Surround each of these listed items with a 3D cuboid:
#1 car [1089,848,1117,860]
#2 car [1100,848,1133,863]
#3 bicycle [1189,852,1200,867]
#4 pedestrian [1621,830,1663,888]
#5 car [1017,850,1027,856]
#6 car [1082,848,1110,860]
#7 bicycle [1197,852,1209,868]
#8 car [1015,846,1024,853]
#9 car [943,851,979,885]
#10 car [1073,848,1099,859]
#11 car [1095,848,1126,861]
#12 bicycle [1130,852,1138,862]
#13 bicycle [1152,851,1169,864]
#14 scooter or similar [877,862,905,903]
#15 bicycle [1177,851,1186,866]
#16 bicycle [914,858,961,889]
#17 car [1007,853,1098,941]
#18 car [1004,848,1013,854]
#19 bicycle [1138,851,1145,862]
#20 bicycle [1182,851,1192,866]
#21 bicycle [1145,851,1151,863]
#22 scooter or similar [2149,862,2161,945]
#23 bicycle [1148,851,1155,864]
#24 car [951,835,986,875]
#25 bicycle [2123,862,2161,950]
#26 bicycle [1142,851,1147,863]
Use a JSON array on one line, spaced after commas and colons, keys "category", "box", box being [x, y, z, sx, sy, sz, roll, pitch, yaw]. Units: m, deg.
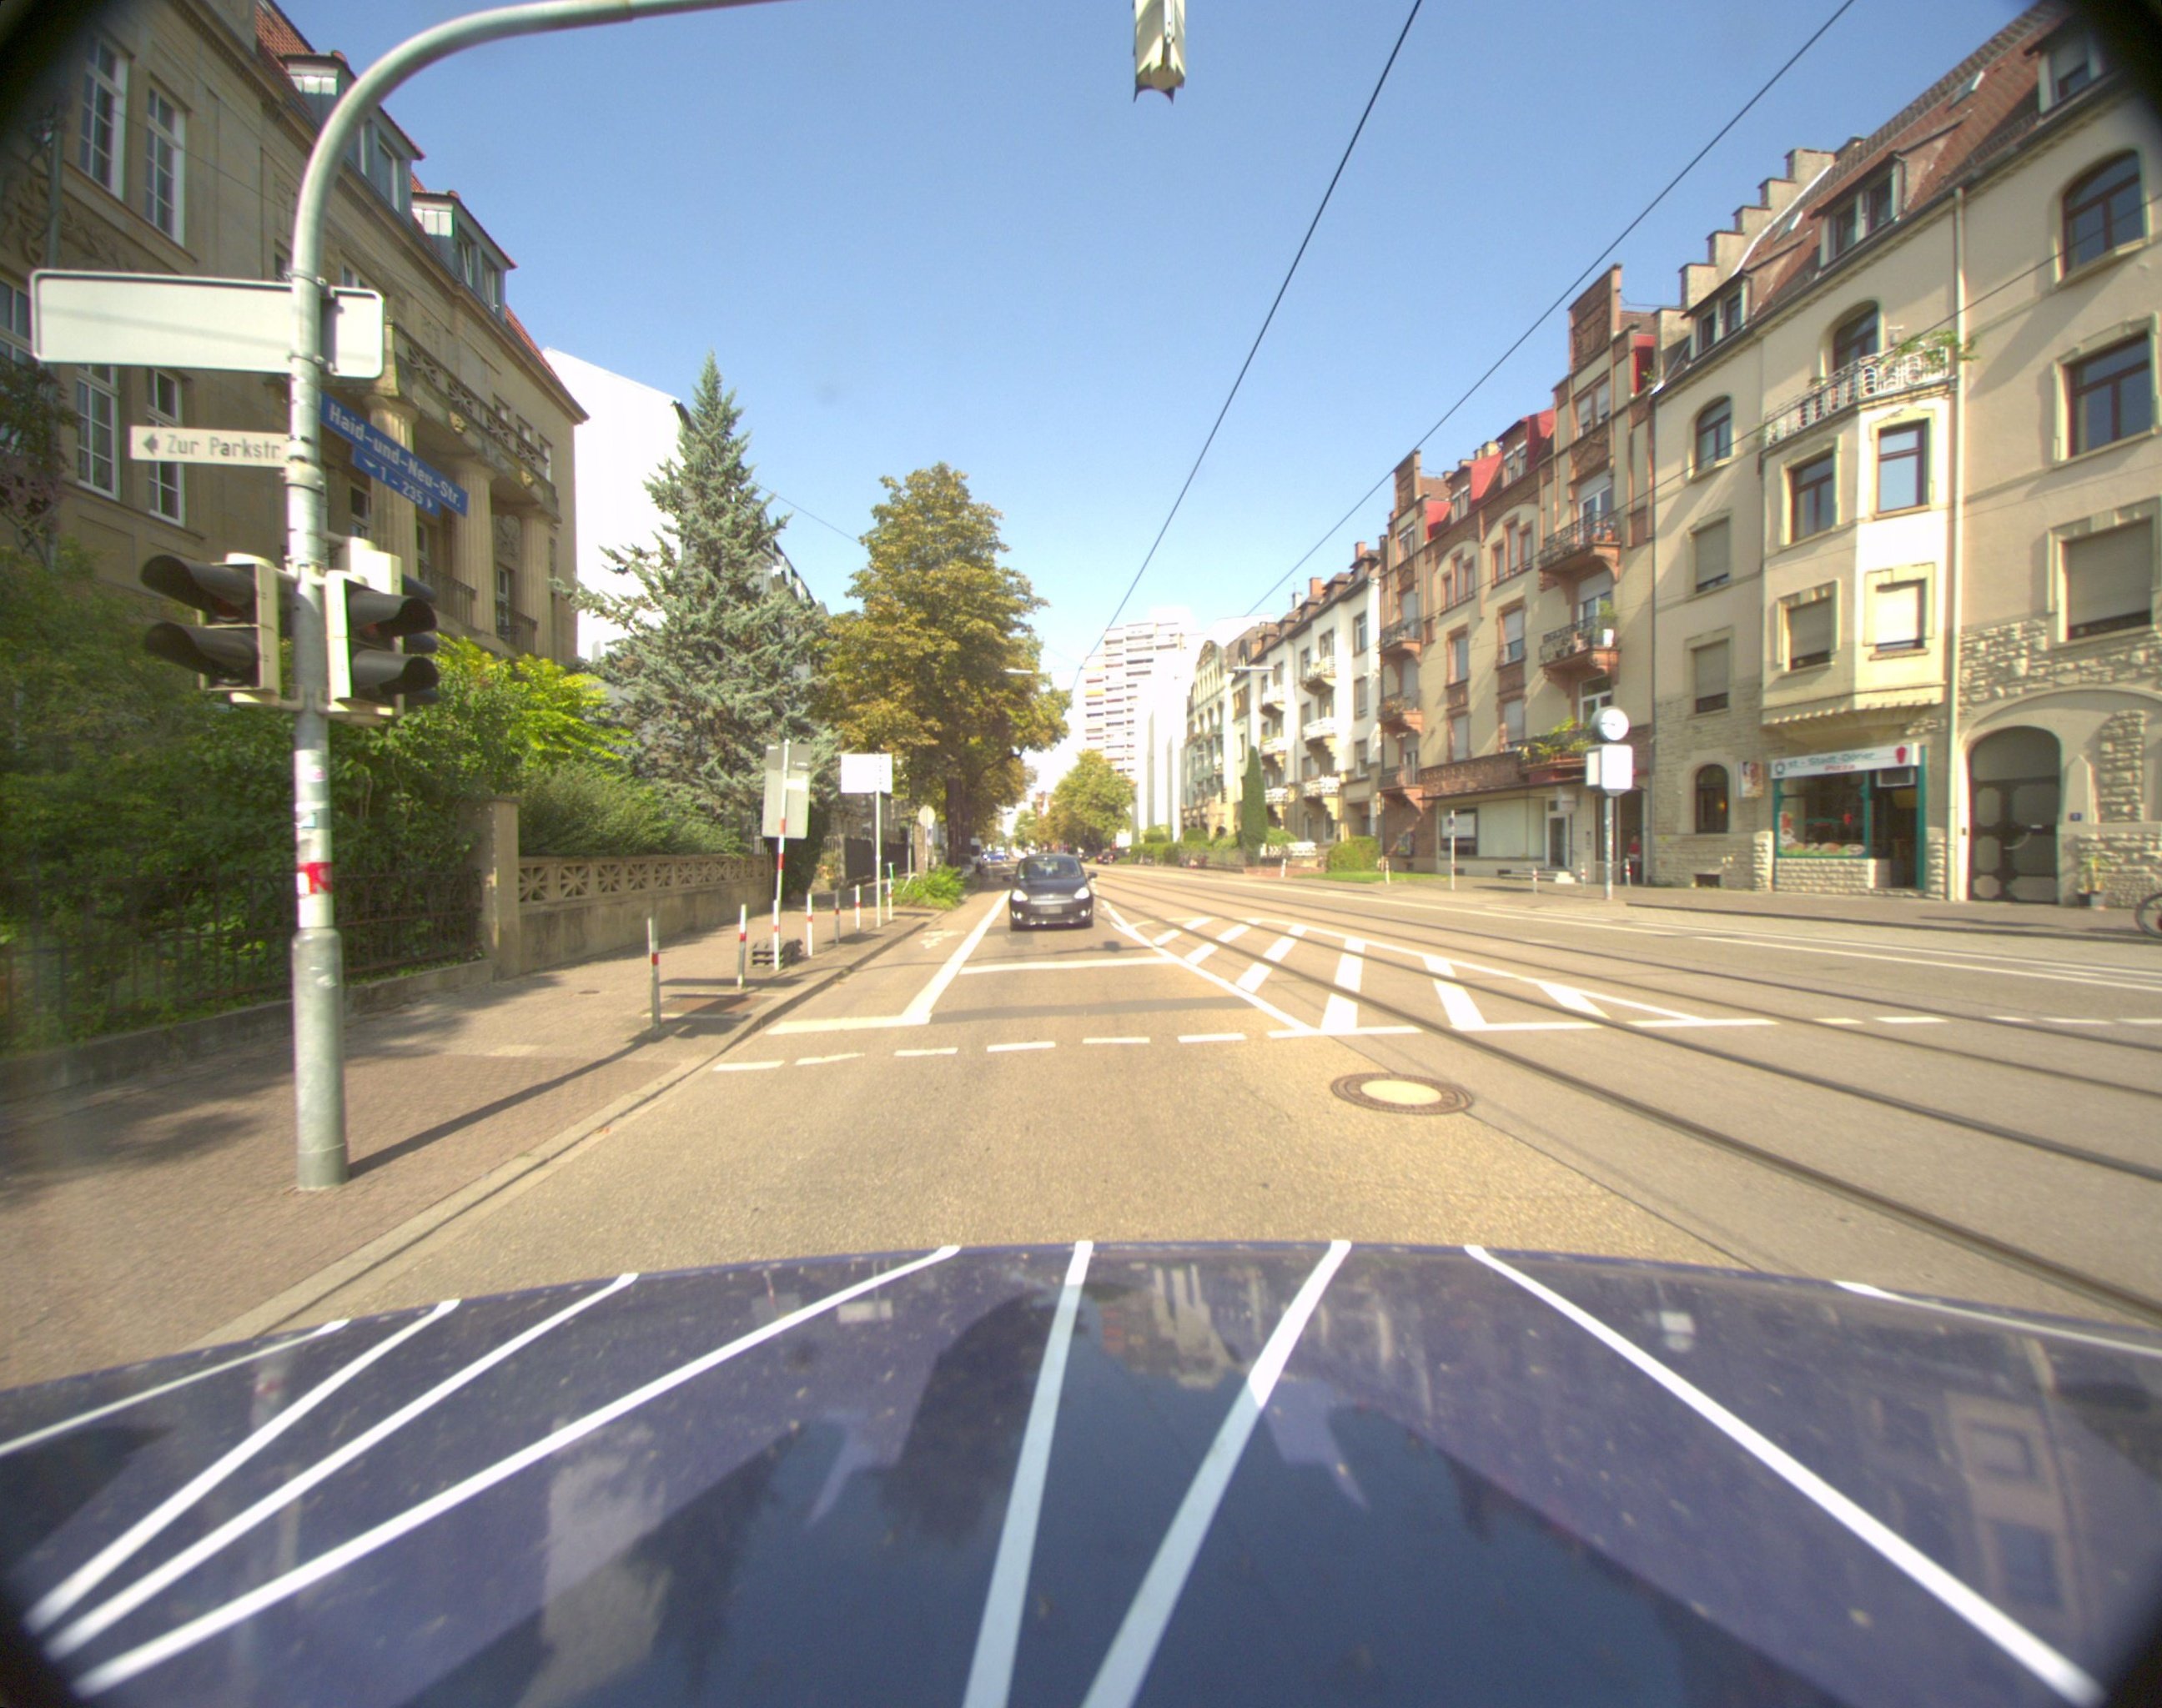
[{"category": "car", "box": [2.895, 0.024, 98.626, 1.767, 1.518, 4.008, 0, 1, 35]}, {"category": "car", "box": [3.993, 0.163, 84.572, 1.767, 1.518, 4.008, 0, 1, 35]}, {"category": "bicycle", "box": [7.957, 0.382, 53.272, 0.371, 1.081, 1.354, -1, 1, -7]}, {"category": "pedestrian", "box": [18.529, 0.155, 25.100, 0.831, 1.849, 0.774, -1, 1, -23]}, {"category": "car", "box": [-13.890, -0.256, 179.188, 1.878, 1.446, 4.540, 2, 0, -10]}, {"category": "car", "box": [1.997, -0.016, 101.392, 1.767, 1.518, 4.008, 0, 1, 35]}, {"category": "bicycle", "box": [8.250, 0.401, 51.521, 0.371, 1.081, 1.487, -1, 1, -7]}, {"category": "car", "box": [-17.129, -1.236, 211.378, 2.000, 2.002, 4.854, -1, 1, -10]}, {"category": "car", "box": [-6.016, 0.661, 38.433, 1.612, 1.515, 4.354, 2, 0, -7]}, {"category": "car", "box": [0.730, -0.112, 110.148, 1.767, 1.518, 4.008, 0, 1, 35]}, {"category": "car", "box": [3.570, 0.075, 91.194, 1.767, 1.518, 4.008, 0, 1, 35]}, {"category": "bicycle", "box": [5.299, 0.318, 75.896, 0.426, 0.972, 1.769, -1, 1, -8]}, {"category": "bicycle", "box": [6.986, 0.283, 66.780, 1.398, 1.081, 0.425, -1, 1, -24]}, {"category": "scooter or similar", "box": [-5.858, 0.872, 23.480, 0.559, 1.190, 1.034, 2, 1, -1]}, {"category": "bicycle", "box": [7.650, 0.350, 57.793, 0.371, 1.081, 1.354, -1, 1, -7]}, {"category": "bicycle", "box": [-5.788, 0.798, 30.725, 0.503, 1.160, 1.846, 8, 5, 43]}, {"category": "car", "box": [-0.689, 0.779, 16.078, 1.611, 1.515, 4.355, -2, 1, -4]}, {"category": "car", "box": [-18.557, -0.809, 193.846, 2.000, 1.572, 4.155, -1, 1, -10]}, {"category": "bicycle", "box": [5.804, 0.247, 72.601, 0.425, 1.081, 1.675, -1, 1, -4]}, {"category": "bicycle", "box": [7.805, 0.354, 56.030, 0.371, 1.081, 1.354, -1, 1, -7]}, {"category": "bicycle", "box": [6.160, 0.282, 69.805, 0.425, 1.081, 1.676, 0, 1, 2]}, {"category": "scooter or similar", "box": [16.109, 0.717, 10.782, 1.031, 1.190, 0.367, 0, 1, 38]}, {"category": "bicycle", "box": [6.254, 0.314, 67.707, 0.425, 1.081, 1.676, -1, 1, -2]}, {"category": "car", "box": [-7.352, 0.047, 50.080, 2.052, 2.484, 6.224, 0, 0, -7]}, {"category": "bicycle", "box": [15.594, 0.737, 10.186, 0.455, 1.219, 1.854, -1, 1, -16]}, {"category": "bicycle", "box": [5.915, 0.267, 70.591, 0.425, 1.081, 1.676, 0, 1, 2]}]
